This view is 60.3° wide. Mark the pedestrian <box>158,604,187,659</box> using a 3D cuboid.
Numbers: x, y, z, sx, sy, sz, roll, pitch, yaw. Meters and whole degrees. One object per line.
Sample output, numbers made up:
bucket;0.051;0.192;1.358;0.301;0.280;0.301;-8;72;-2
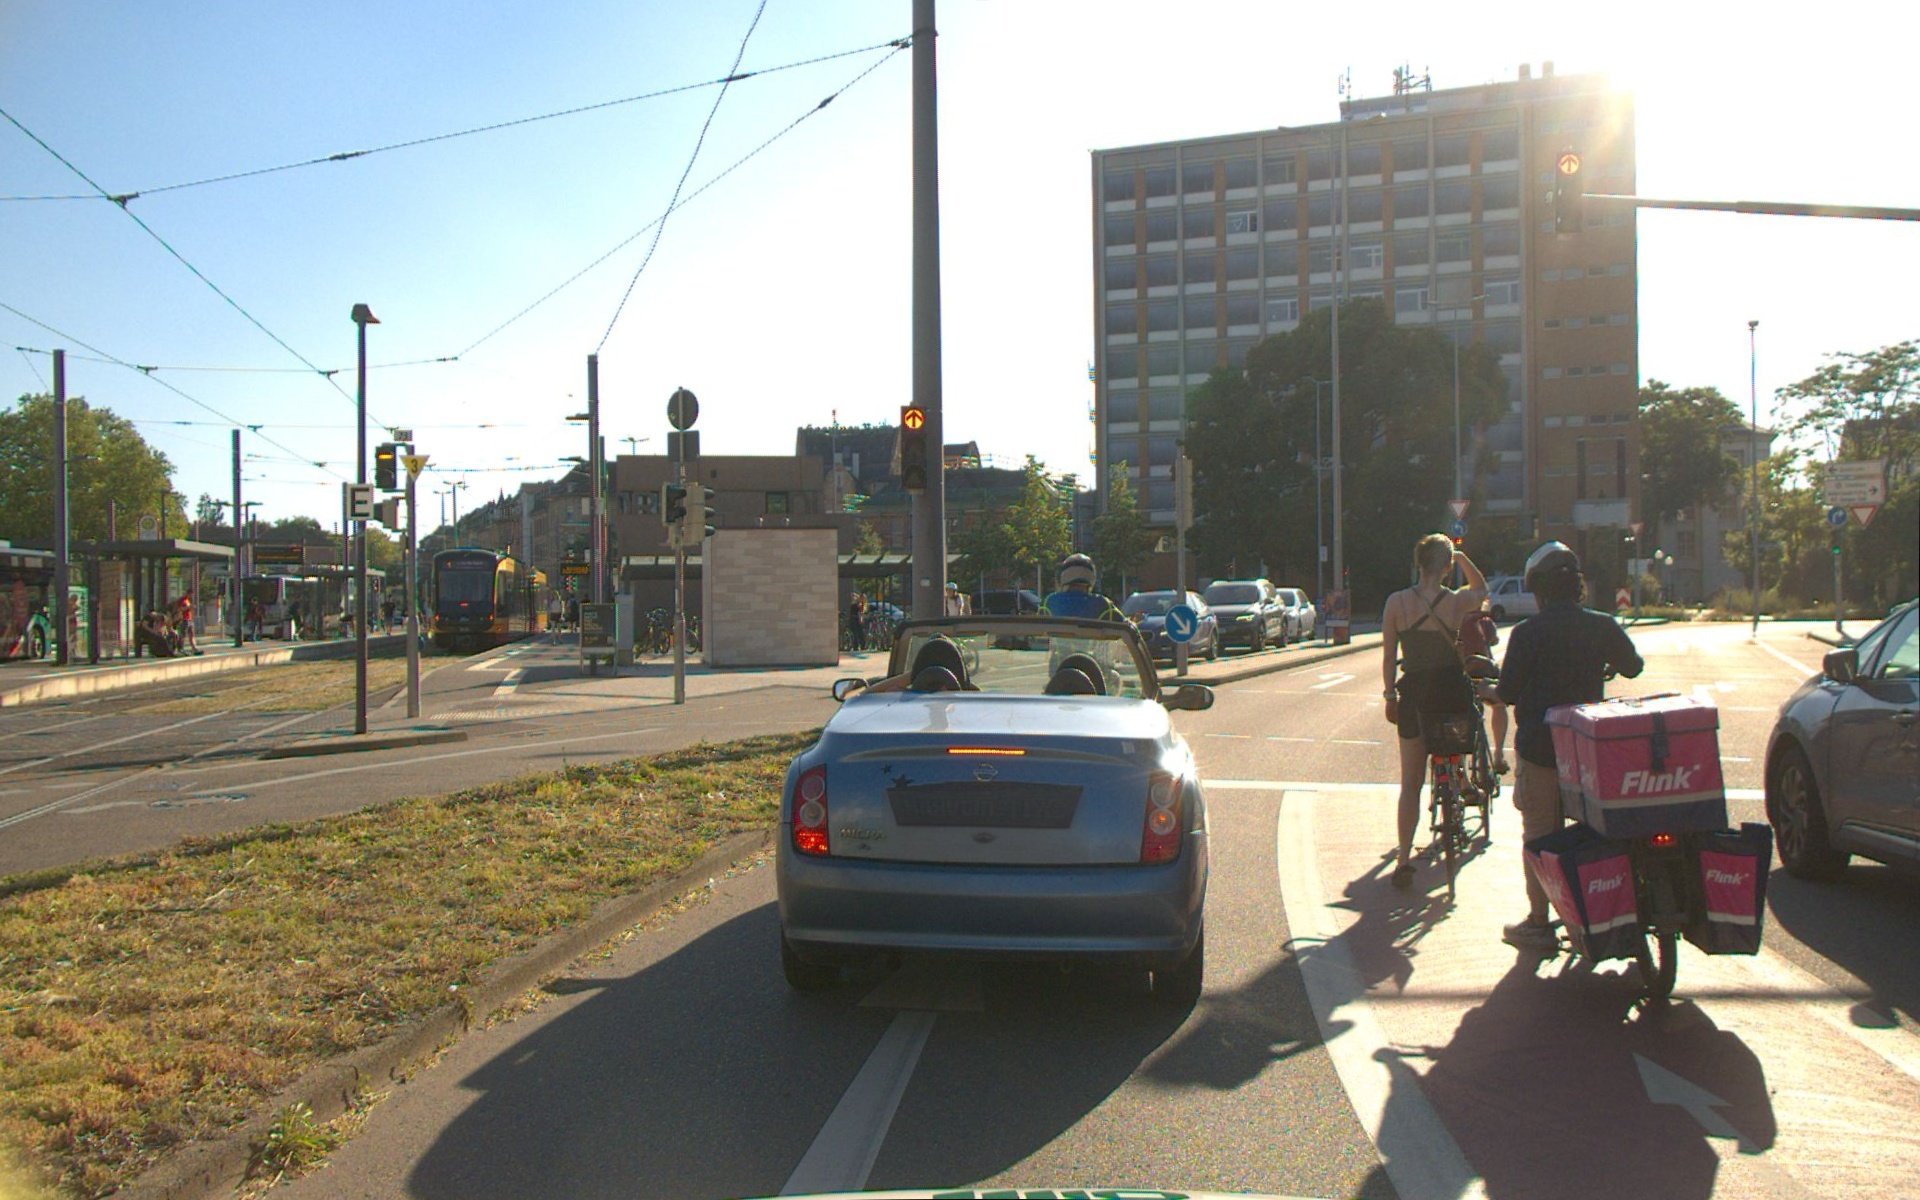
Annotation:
pedestrian;-20.252;0.804;42.548;0.561;1.369;0.637;-1;0;-17

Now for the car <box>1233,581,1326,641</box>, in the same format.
car;9.013;0.281;46.458;1.661;1.588;3.977;-1;0;25

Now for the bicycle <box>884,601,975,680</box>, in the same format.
bicycle;-0.504;0.676;28.829;0.660;1.272;2.457;-3;-1;21

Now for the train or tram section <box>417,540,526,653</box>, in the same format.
train or tram section;-17.646;-0.104;60.407;2.831;3.659;12.161;1;0;-12

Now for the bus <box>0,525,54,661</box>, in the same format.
bus;-23.561;-0.176;37.170;2.606;3.190;9.619;1;0;-10

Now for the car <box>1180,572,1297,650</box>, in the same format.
car;6.755;0.240;39.818;1.726;1.736;4.529;-2;-1;23

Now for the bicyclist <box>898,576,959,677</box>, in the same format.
bicyclist;-0.542;0.456;28.761;0.694;1.686;0.901;-3;-1;21

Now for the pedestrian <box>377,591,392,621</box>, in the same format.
pedestrian;-34.551;0.359;99.303;0.720;1.779;0.638;-1;0;-8

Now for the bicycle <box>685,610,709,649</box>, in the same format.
bicycle;-7.979;0.894;50.198;0.596;1.134;1.890;1;0;-13

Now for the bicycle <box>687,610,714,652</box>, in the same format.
bicycle;-7.279;0.863;46.335;0.596;1.134;1.890;1;0;-13

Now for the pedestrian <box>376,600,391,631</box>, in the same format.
pedestrian;-34.226;0.919;98.245;0.720;1.779;0.638;-1;0;-8

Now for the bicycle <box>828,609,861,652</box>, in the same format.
bicycle;-3.161;0.825;45.057;0.596;1.134;1.890;1;0;-13

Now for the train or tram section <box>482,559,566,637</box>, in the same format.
train or tram section;-22.045;-0.067;84.257;2.984;3.659;12.024;1;0;-10

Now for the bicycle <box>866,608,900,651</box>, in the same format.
bicycle;-2.110;0.783;45.215;0.596;1.134;1.890;1;0;-13

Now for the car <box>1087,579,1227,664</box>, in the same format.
car;4.072;0.425;33.684;1.702;1.601;3.921;1;0;25

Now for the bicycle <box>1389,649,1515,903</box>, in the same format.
bicycle;2.638;0.879;8.998;0.552;1.171;1.951;1;0;14

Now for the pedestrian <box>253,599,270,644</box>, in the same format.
pedestrian;-27.983;0.850;66.253;0.562;1.779;0.636;-1;0;-20

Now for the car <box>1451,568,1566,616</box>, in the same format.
car;23.918;-0.358;72.103;4.625;1.979;1.902;-1;0;-22

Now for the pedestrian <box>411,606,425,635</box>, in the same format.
pedestrian;-33.429;1.269;102.053;0.720;1.779;0.638;-1;0;-8

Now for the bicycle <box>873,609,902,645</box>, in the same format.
bicycle;-2.337;0.868;53.189;0.596;1.134;1.890;1;0;-13

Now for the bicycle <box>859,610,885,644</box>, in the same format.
bicycle;-3.020;0.911;56.684;0.596;1.134;1.890;1;0;-13

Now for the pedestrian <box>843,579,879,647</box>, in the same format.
pedestrian;-2.799;0.370;46.710;0.885;1.901;0.685;1;-1;-13

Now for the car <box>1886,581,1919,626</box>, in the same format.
car;44.250;0.117;74.220;4.606;1.979;1.910;-1;0;33

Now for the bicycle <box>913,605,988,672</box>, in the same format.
bicycle;-0.155;0.712;31.447;0.660;1.201;2.183;-1;0;21

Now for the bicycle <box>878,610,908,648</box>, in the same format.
bicycle;-2.088;0.886;51.221;0.596;1.134;1.890;1;0;-13

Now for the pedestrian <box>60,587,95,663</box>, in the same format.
pedestrian;-20.971;0.592;39.318;0.527;1.779;0.559;-1;0;-6

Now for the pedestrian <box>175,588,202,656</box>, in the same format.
pedestrian;-20.706;0.584;44.406;0.561;1.779;0.637;-1;0;-17

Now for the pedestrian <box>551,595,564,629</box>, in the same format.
pedestrian;-21.789;0.650;89.579;0.593;1.779;0.830;-1;0;-8

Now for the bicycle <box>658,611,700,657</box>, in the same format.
bicycle;-7.183;0.858;42.337;0.594;1.134;1.898;1;0;5

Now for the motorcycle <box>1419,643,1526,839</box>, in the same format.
motorcycle;3.420;0.874;11.113;0.600;1.117;2.361;1;0;16

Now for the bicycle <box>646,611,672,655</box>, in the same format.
bicycle;-7.992;0.861;43.930;0.596;1.134;1.890;1;0;-13

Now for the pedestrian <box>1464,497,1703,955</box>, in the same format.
pedestrian;2.763;0.523;7.426;0.789;1.901;0.957;1;-1;8

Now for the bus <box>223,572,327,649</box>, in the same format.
bus;-32.735;0.470;79.554;2.675;3.331;13.413;1;0;-14

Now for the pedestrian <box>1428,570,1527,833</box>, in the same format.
pedestrian;3.382;0.631;10.851;0.575;1.626;1.025;1;-1;16

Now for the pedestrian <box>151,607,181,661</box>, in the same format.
pedestrian;-20.094;0.858;41.867;0.606;1.364;0.438;-1;0;-18

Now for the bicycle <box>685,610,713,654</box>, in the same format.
bicycle;-6.989;0.846;44.276;0.596;1.134;1.890;1;0;-13

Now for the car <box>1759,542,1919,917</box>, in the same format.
car;5.286;0.607;7.399;1.792;1.719;4.372;1;0;8

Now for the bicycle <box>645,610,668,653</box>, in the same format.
bicycle;-8.424;0.862;45.848;0.596;1.134;1.891;1;0;-11

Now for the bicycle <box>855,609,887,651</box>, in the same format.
bicycle;-2.558;0.844;47.139;0.596;1.134;1.890;1;0;-13

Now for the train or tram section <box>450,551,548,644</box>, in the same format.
train or tram section;-19.980;-0.081;72.362;2.957;3.659;12.169;1;0;-10

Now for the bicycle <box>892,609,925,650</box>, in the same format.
bicycle;-1.495;0.831;47.543;0.596;1.134;1.890;1;0;-13

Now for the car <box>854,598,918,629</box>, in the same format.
car;-3.984;0.741;88.611;1.629;1.588;3.549;-1;0;-39

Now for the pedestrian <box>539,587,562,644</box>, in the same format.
pedestrian;-12.977;0.487;52.425;0.628;1.779;0.569;-1;0;-19

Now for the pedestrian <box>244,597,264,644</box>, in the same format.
pedestrian;-26.986;0.797;63.237;0.630;1.779;0.567;-1;0;-27

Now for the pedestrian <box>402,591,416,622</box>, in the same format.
pedestrian;-32.853;0.386;98.684;0.722;1.779;0.637;-1;0;-16

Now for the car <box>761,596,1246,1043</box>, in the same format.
car;0.355;0.747;7.681;1.625;1.466;4.157;1;0;6

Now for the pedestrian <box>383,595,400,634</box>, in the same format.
pedestrian;-25.890;0.650;75.300;0.630;1.779;0.567;-1;0;-27

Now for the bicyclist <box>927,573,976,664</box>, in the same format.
bicyclist;-0.155;0.349;31.475;0.694;1.686;0.743;-1;0;21

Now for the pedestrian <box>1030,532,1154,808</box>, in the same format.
pedestrian;0.969;0.486;11.967;0.815;1.901;0.921;1;-1;8

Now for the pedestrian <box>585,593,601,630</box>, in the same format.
pedestrian;-17.614;0.558;79.350;0.628;1.779;0.732;-1;0;-19

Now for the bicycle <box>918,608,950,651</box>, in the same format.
bicycle;-0.730;0.808;45.538;0.595;1.134;1.892;1;0;-10

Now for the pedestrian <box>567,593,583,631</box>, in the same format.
pedestrian;-18.322;0.577;78.743;0.628;1.779;0.732;-1;0;-19

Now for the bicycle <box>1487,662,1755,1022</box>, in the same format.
bicycle;2.729;0.901;7.074;0.542;1.192;2.374;1;0;9

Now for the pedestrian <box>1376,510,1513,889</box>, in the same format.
pedestrian;2.560;0.500;8.810;0.645;1.901;0.873;1;-1;14

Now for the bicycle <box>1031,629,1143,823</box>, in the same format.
bicycle;0.953;0.831;11.898;0.595;1.212;2.416;1;0;9
